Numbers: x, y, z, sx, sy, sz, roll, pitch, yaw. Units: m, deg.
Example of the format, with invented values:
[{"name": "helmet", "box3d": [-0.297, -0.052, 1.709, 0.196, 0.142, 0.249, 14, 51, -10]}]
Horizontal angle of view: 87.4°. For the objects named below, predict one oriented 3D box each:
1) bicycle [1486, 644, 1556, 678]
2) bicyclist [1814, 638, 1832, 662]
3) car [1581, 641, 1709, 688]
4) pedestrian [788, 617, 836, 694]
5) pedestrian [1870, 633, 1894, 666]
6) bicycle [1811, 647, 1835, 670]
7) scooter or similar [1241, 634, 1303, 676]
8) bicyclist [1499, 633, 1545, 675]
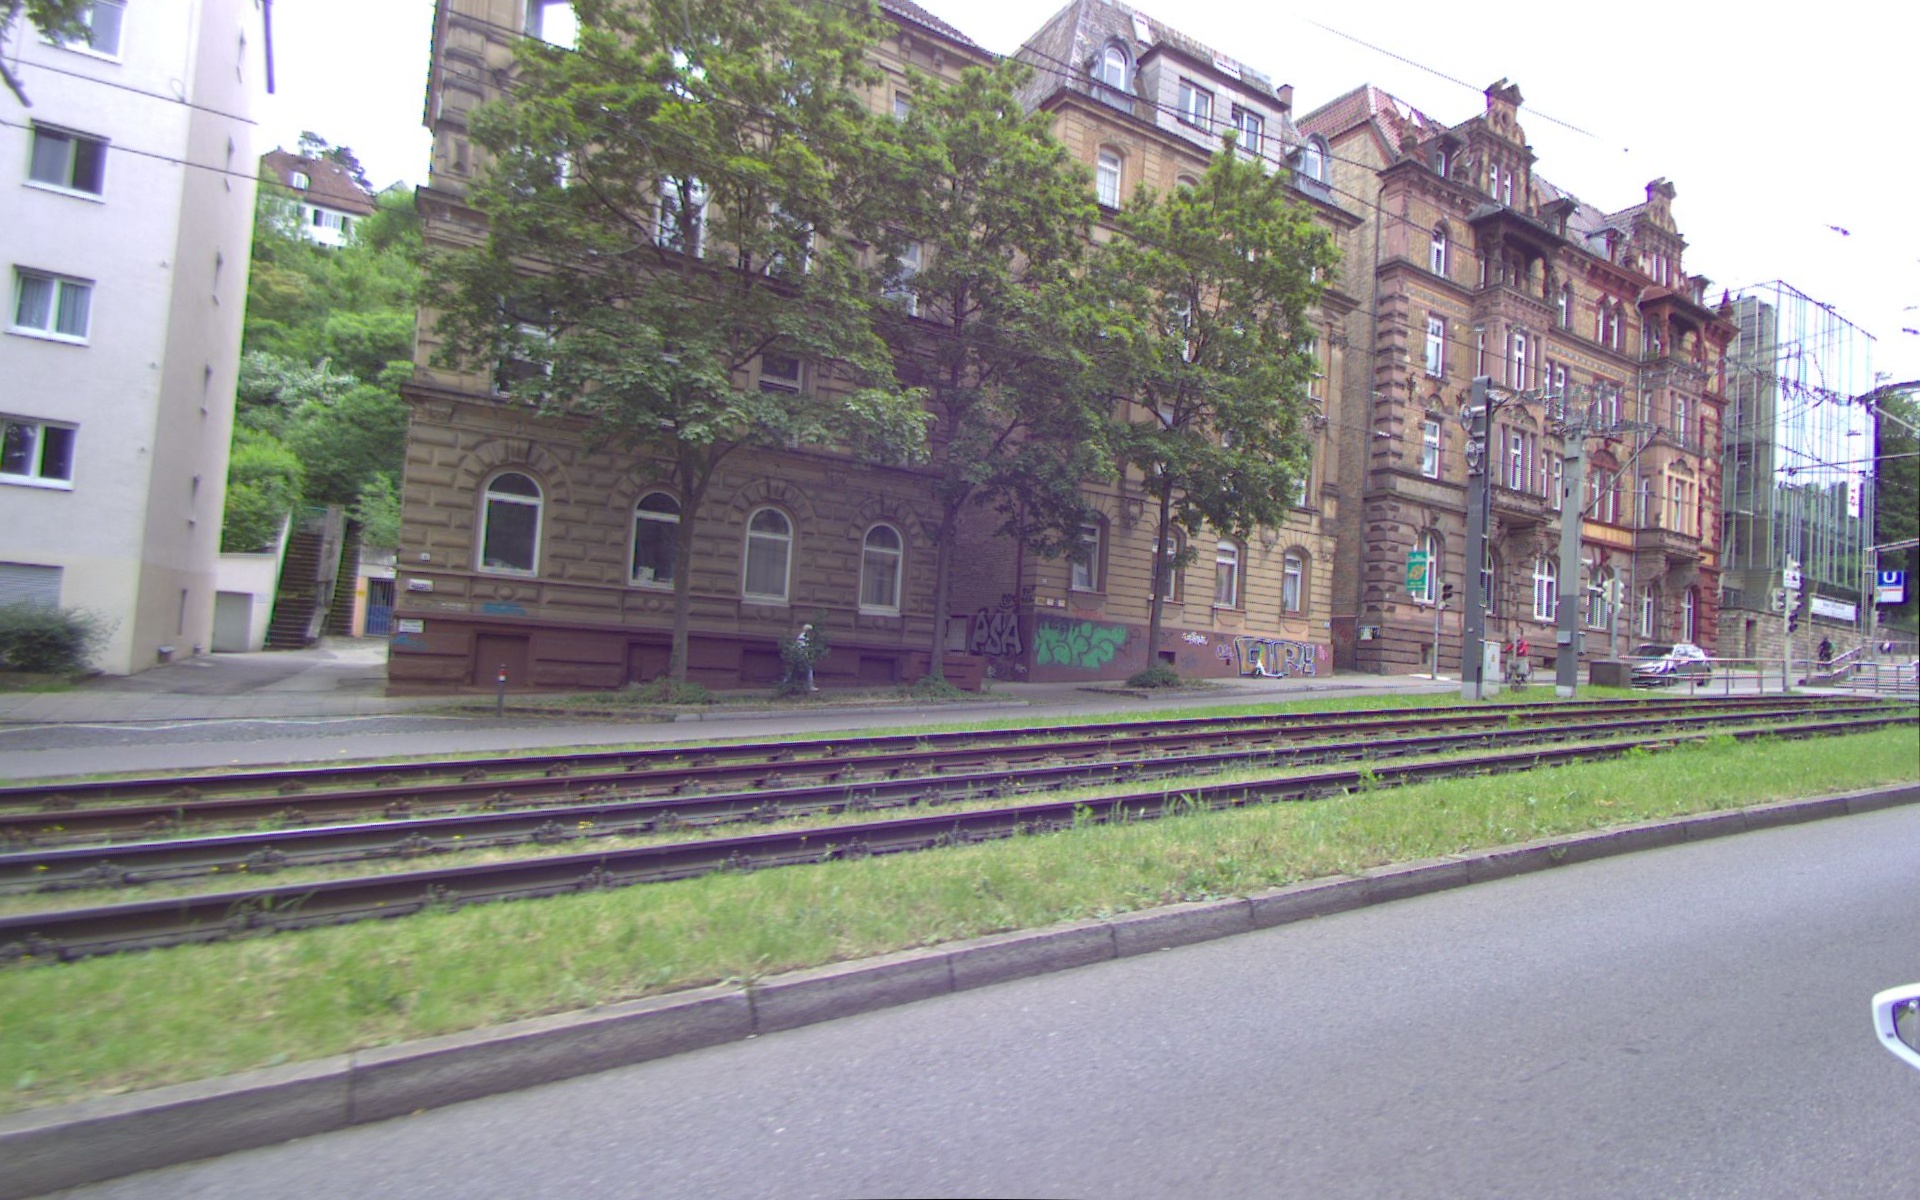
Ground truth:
[{"name": "bicycle", "box3d": [19.493, 2.113, 34.893, 2.671, 1.114, 0.933, 1, -2, -31]}, {"name": "bicyclist", "box3d": [44.847, 2.582, 52.187, 0.648, 1.207, 0.516, 1, -2, -30]}, {"name": "car", "box3d": [22.692, 2.101, 33.261, 3.953, 1.421, 1.984, 1, -2, -30]}, {"name": "pedestrian", "box3d": [-3.386, 1.252, 22.946, 0.839, 1.706, 0.827, 1, -2, -32]}, {"name": "pedestrian", "box3d": [51.932, 2.779, 56.564, 0.807, 1.778, 0.805, 1, -1, -30]}, {"name": "bicycle", "box3d": [44.836, 3.052, 52.174, 1.288, 1.158, 0.570, 1, -2, -30]}, {"name": "scooter or similar", "box3d": [9.813, 1.720, 31.568, 2.191, 1.271, 0.625, 1, -1, -33]}, {"name": "bicyclist", "box3d": [19.537, 1.868, 34.909, 1.174, 1.444, 0.934, 1, -2, -31]}]
